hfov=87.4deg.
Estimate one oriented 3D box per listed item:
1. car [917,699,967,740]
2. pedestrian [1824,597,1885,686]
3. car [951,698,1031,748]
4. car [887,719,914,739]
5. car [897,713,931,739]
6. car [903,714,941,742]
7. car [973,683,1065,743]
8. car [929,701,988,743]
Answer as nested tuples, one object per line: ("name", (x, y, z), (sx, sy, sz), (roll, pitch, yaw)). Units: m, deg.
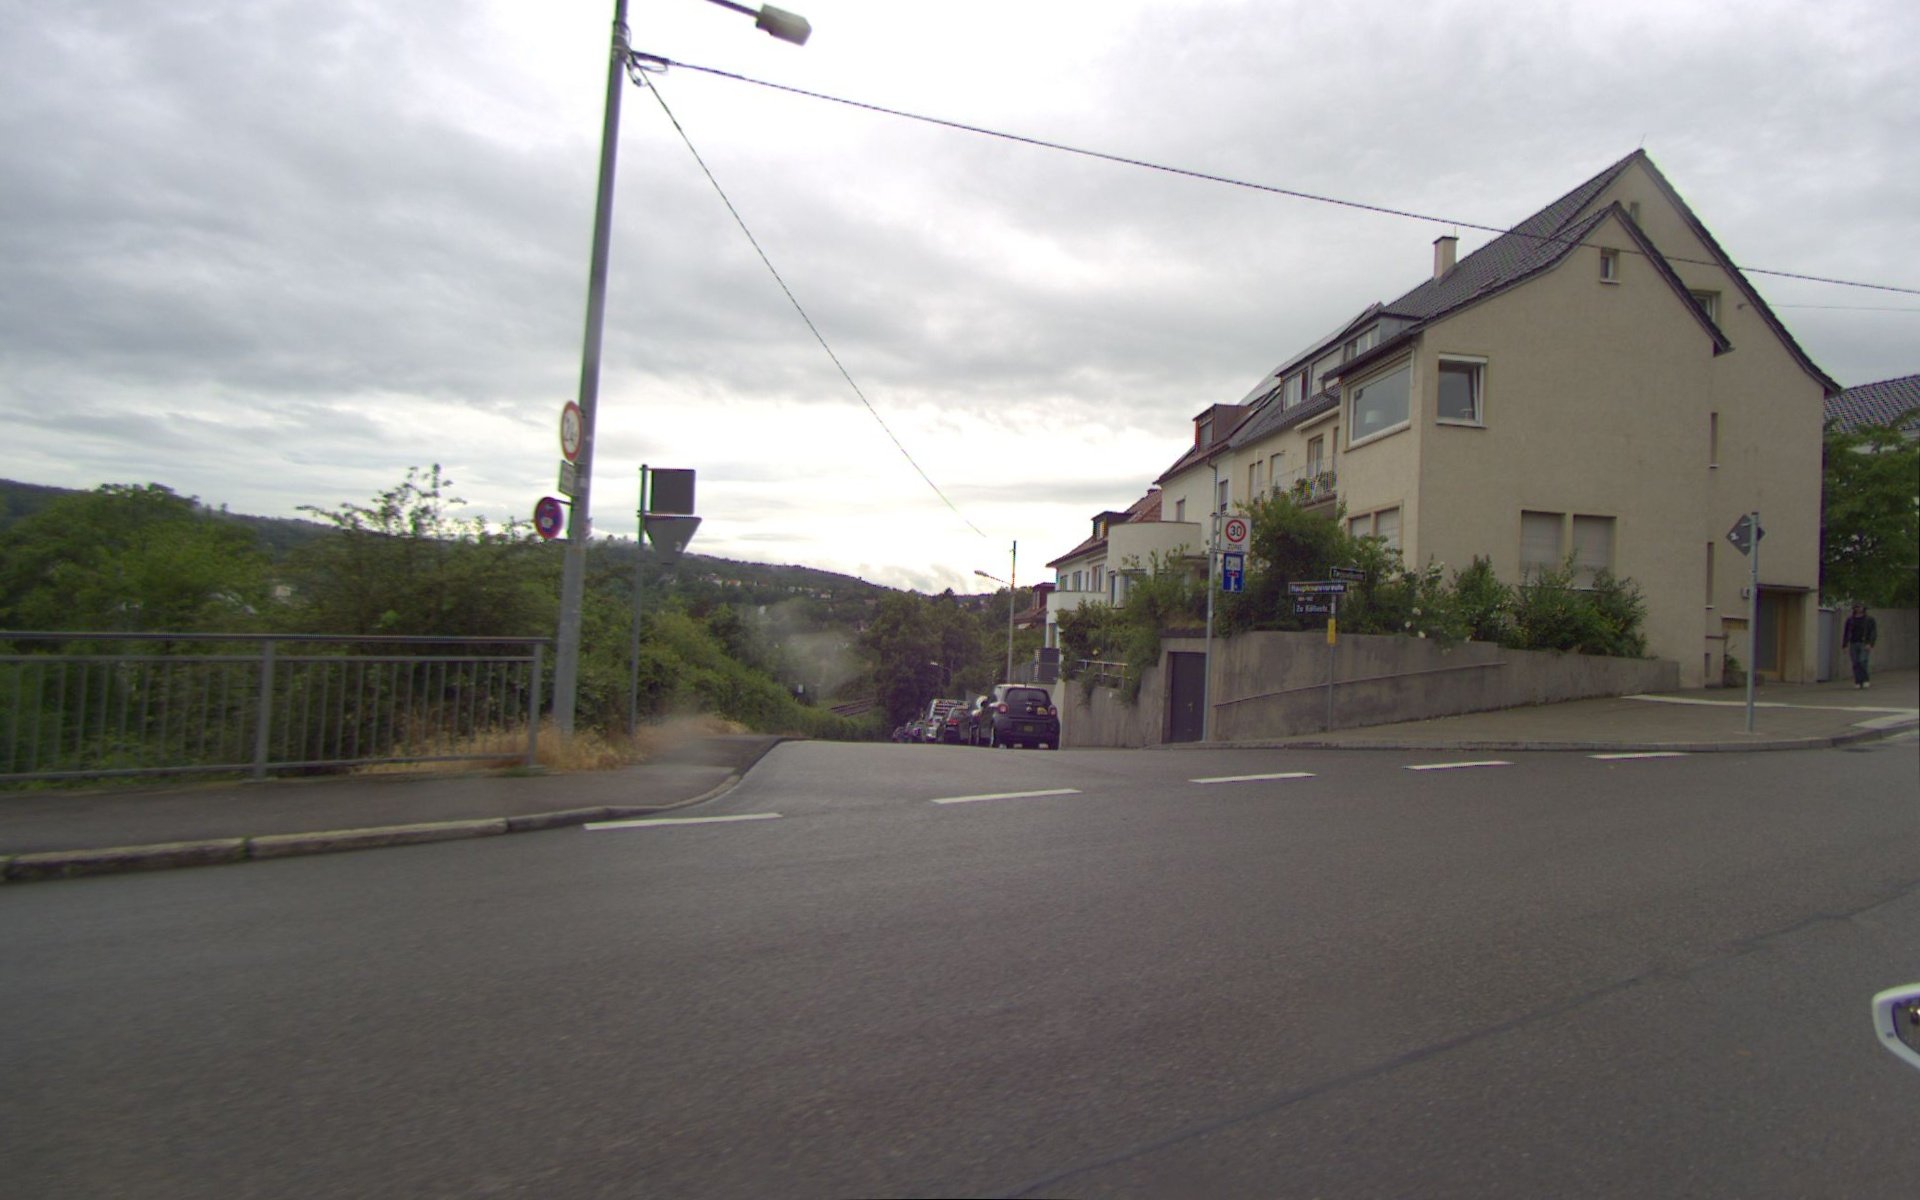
("car", (-0.808, 5.096, 42.745), (1.670, 1.661, 3.202), (0, -8, -10))
("pedestrian", (19.382, 0.876, 21.774), (0.719, 1.882, 0.783), (1, 0, -30))
("car", (0.857, 3.693, 30.036), (1.774, 1.286, 4.000), (4, -8, -6))
("car", (-4.398, 9.556, 74.223), (1.670, 1.458, 3.202), (0, -8, -10))
("car", (-2.782, 7.548, 60.022), (1.670, 1.458, 3.202), (0, -8, -10))
("car", (-2.090, 7.032, 54.963), (1.670, 1.458, 3.202), (0, -8, -10))
("car", (1.403, 2.864, 25.232), (1.622, 1.286, 4.000), (4, -8, -6))
("car", (-0.093, 4.538, 37.234), (1.670, 1.458, 3.202), (0, -8, -10))
